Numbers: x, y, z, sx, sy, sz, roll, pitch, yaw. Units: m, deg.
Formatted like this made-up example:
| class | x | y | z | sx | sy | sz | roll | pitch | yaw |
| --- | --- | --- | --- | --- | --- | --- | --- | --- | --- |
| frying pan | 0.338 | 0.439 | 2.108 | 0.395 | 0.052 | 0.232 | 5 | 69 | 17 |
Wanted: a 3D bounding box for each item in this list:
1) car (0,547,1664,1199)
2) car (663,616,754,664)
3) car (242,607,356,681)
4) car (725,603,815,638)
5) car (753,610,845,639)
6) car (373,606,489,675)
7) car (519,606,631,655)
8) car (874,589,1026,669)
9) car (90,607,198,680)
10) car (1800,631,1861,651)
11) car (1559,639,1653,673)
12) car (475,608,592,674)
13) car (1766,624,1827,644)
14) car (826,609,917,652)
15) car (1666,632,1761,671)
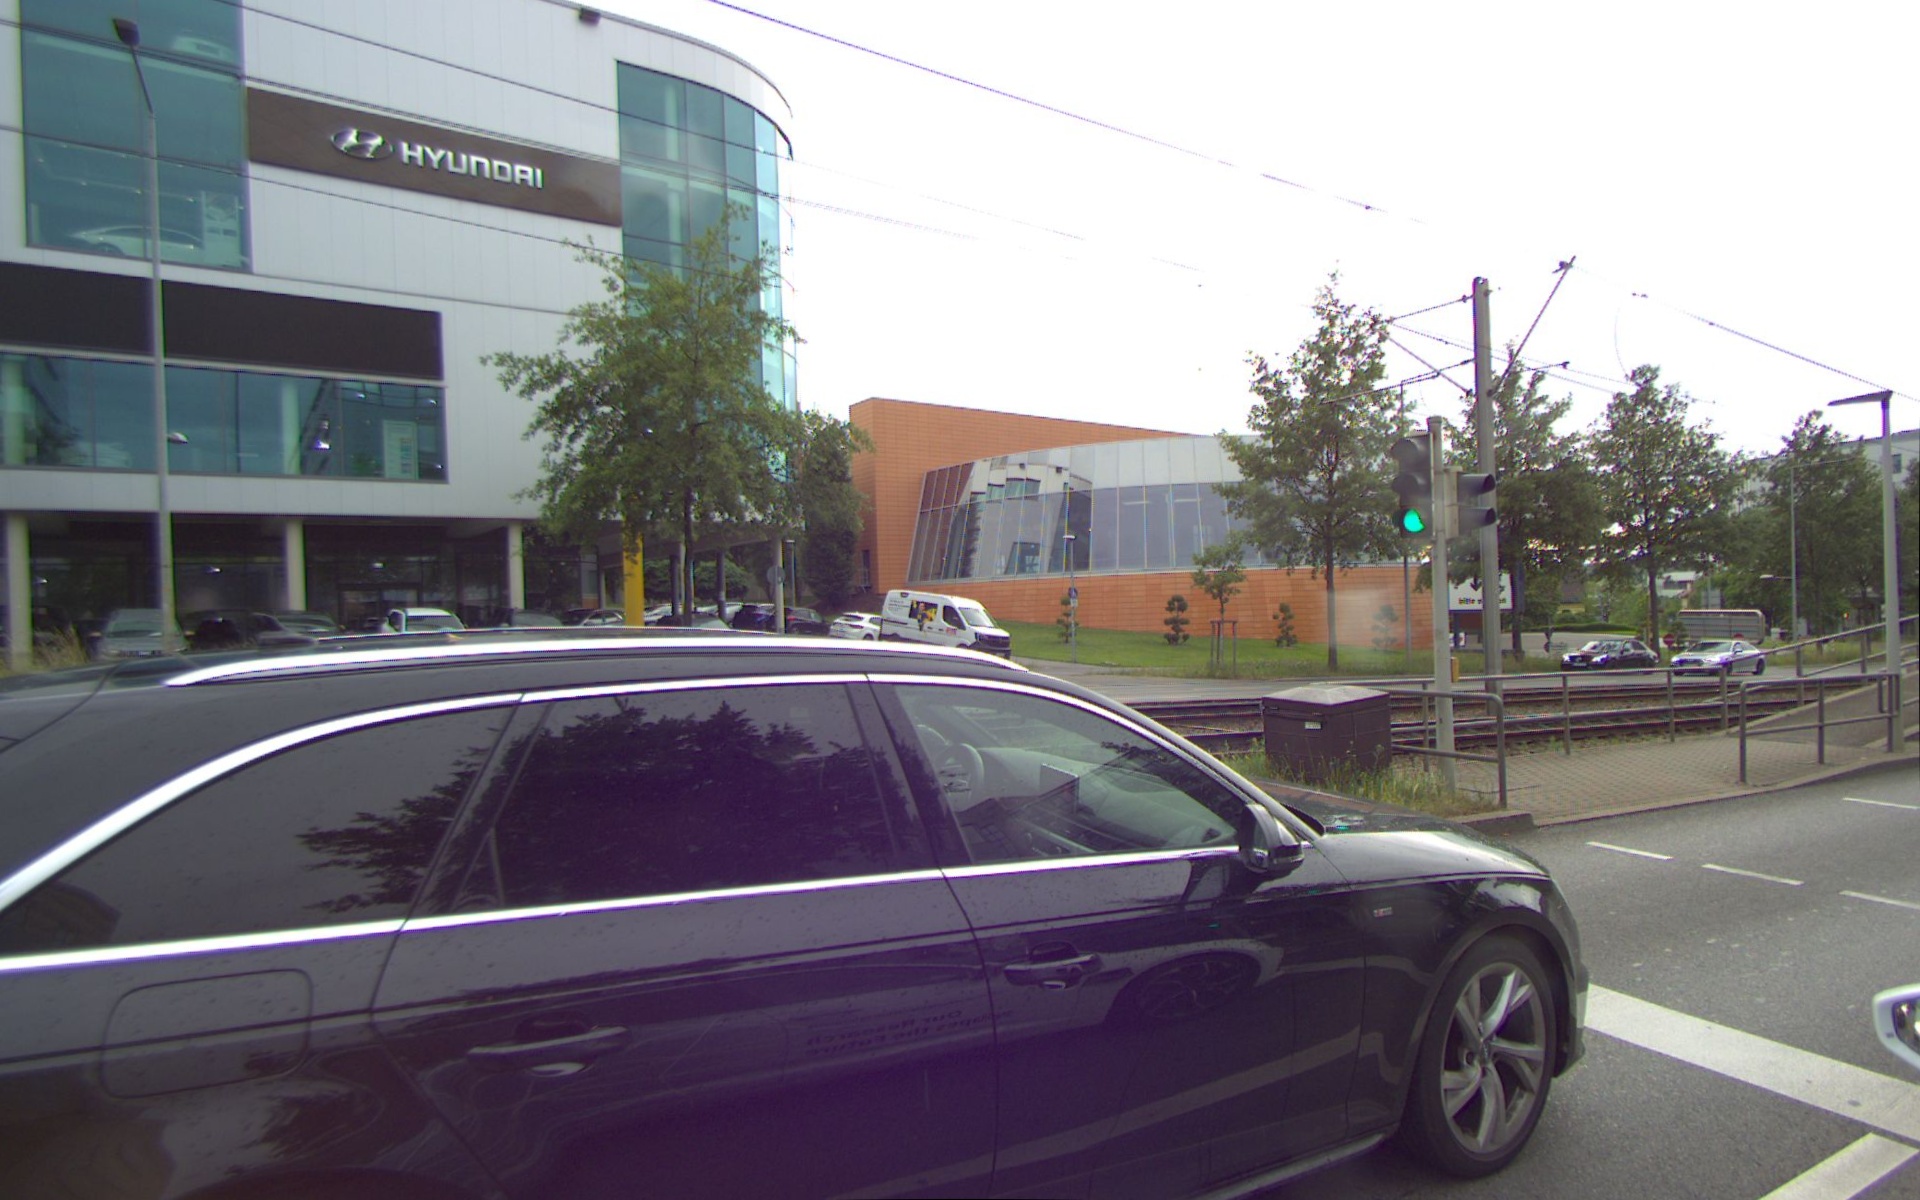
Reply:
| class | x | y | z | sx | sy | sz | roll | pitch | yaw |
| --- | --- | --- | --- | --- | --- | --- | --- | --- | --- |
| car | -0.221 | 0.719 | 2.681 | 4.461 | 1.486 | 1.772 | 1 | -1 | -31 |
| car | -7.973 | 1.212 | 31.631 | 1.565 | 1.409 | 3.619 | 1 | -1 | -36 |
| car | -17.290 | 1.087 | 26.196 | 1.984 | 1.571 | 4.324 | 2 | 1 | -40 |
| car | -9.194 | 0.994 | 48.883 | 1.969 | 1.653 | 3.982 | 0 | -1 | 39 |
| car | -7.545 | 1.152 | 47.317 | 1.969 | 1.297 | 3.982 | 0 | -1 | 39 |
| car | -14.831 | 1.073 | 28.051 | 1.984 | 1.571 | 4.324 | 2 | 1 | -40 |
| car | -13.273 | 1.032 | 34.841 | 1.691 | 1.572 | 3.588 | 0 | -1 | 20 |
| car | -0.449 | 1.011 | 37.912 | 5.544 | 2.616 | 2.392 | 3 | 1 | 43 |
| car | -20.199 | 1.022 | 24.870 | 1.917 | 1.479 | 3.974 | 2 | 1 | -40 |
| car | 66.410 | 3.104 | 76.660 | 1.408 | 1.405 | 3.371 | 1 | -1 | -13 |
| car | 26.075 | 2.241 | 40.526 | 3.922 | 1.253 | 1.642 | 1 | -1 | -30 |
| car | -12.654 | 1.151 | 29.666 | 1.984 | 1.637 | 4.324 | 2 | 1 | -40 |
| car | 62.821 | 2.511 | 75.482 | 1.408 | 1.405 | 3.371 | 1 | -1 | -13 |
| car | -3.669 | 1.254 | 41.962 | 1.703 | 1.688 | 3.734 | 1 | -1 | 38 |
| car | 29.489 | 2.015 | 39.307 | 3.835 | 1.455 | 1.642 | 1 | -3 | -31 |
